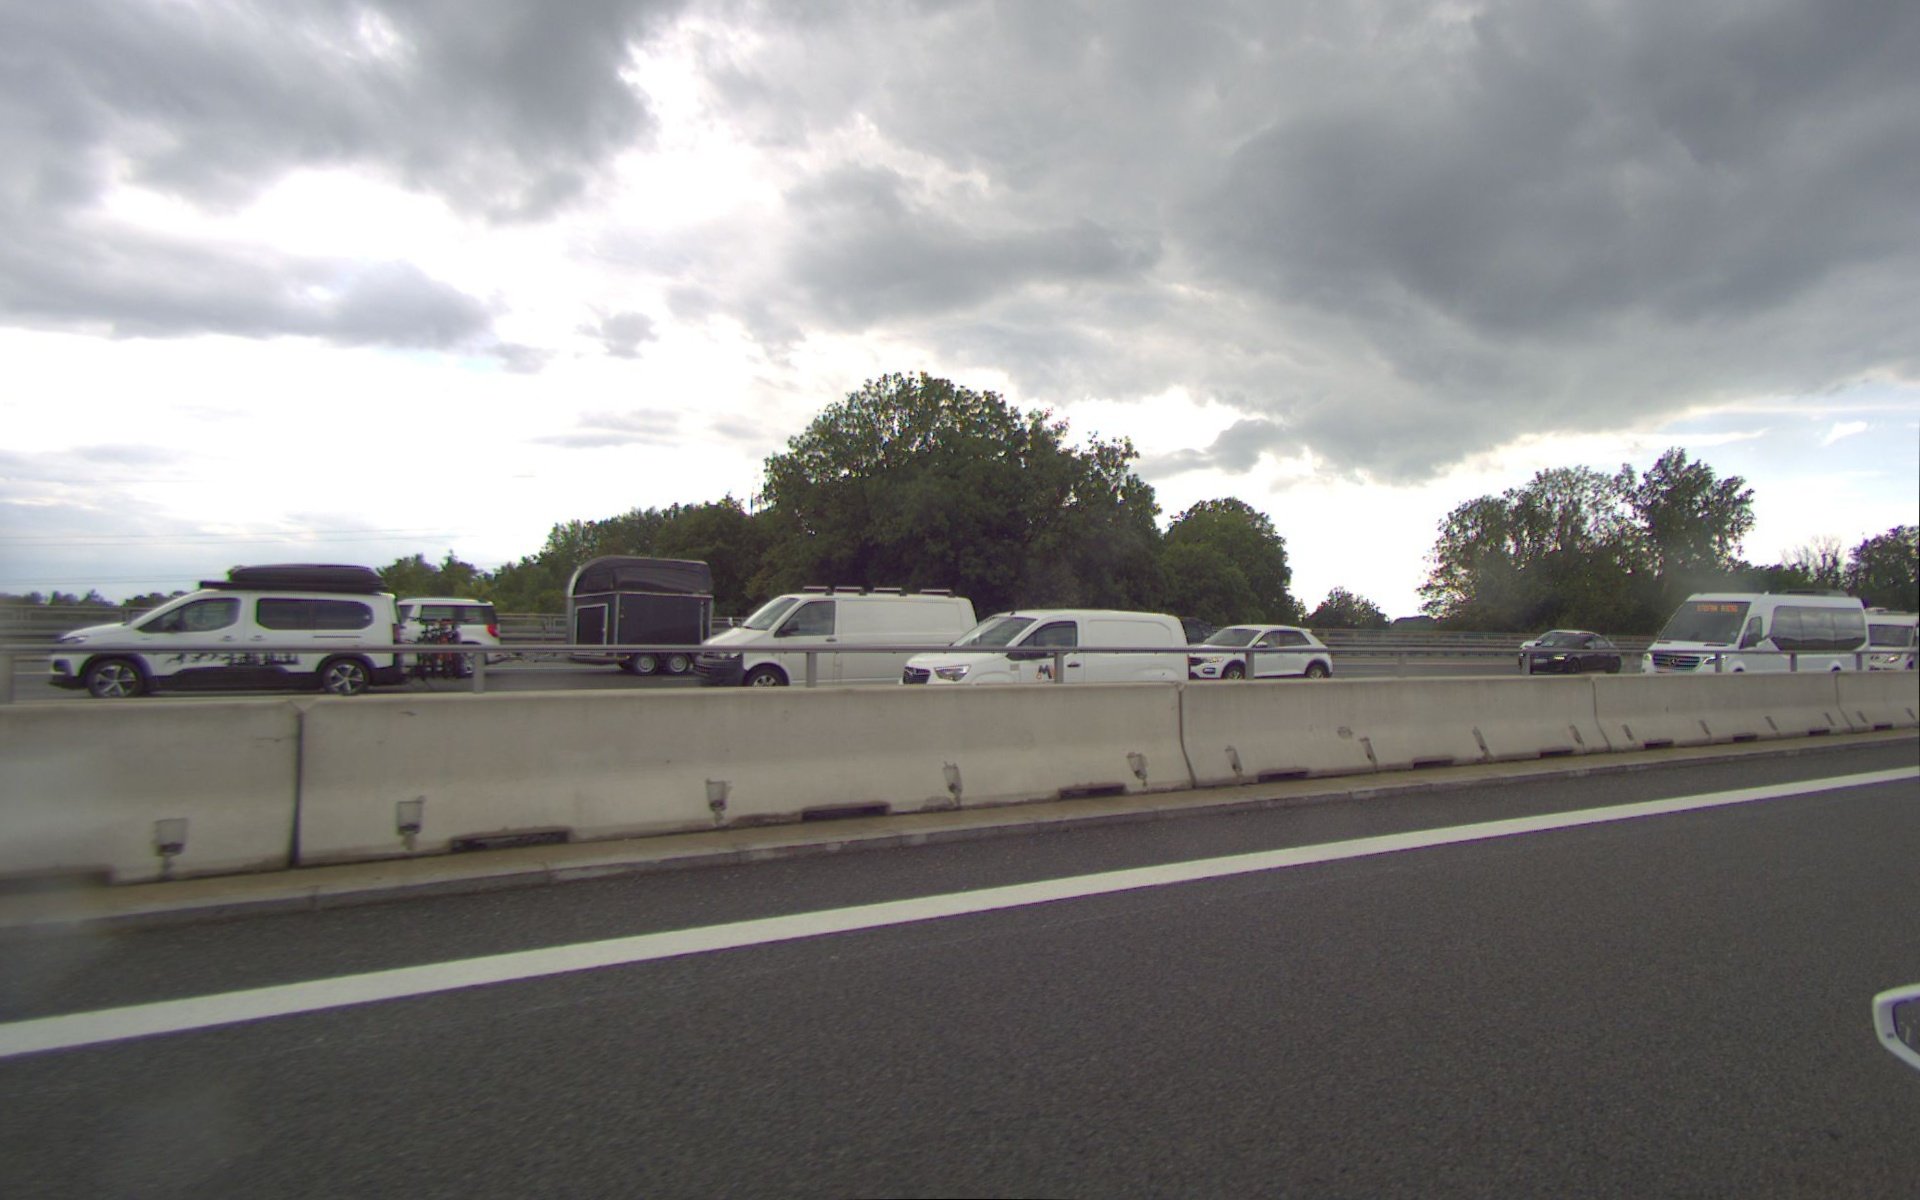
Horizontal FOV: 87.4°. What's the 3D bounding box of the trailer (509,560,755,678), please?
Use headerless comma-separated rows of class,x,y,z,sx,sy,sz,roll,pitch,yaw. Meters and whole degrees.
trailer,-7.675,0.474,23.628,5.164,2.517,2.191,2,-1,-29

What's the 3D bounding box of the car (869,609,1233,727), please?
car,1.487,0.993,15.535,5.404,1.555,2.051,2,-1,-29

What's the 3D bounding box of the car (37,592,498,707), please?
car,-11.198,0.809,16.945,6.047,1.667,2.051,2,-1,-29

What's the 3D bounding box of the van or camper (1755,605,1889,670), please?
van or camper,46.179,2.019,53.723,8.373,3.164,2.613,2,0,-29

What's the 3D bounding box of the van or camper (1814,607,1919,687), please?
van or camper,38.247,1.931,41.038,7.269,2.990,2.614,2,0,-29

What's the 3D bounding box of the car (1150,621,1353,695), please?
car,6.854,1.328,23.539,4.465,1.555,2.051,2,-1,-29

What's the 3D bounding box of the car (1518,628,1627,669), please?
car,25.070,1.990,41.063,4.462,1.484,1.716,2,0,-27

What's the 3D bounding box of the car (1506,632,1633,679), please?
car,21.340,1.942,35.142,4.462,1.484,1.716,2,0,-27

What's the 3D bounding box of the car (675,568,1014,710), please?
car,-2.026,0.713,18.394,5.823,2.265,2.051,2,-1,-29

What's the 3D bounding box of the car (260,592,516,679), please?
car,-11.921,0.752,21.240,4.465,1.667,2.051,2,-1,-29

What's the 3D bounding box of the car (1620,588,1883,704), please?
car,21.616,1.134,27.239,9.049,2.786,2.222,0,0,-29
